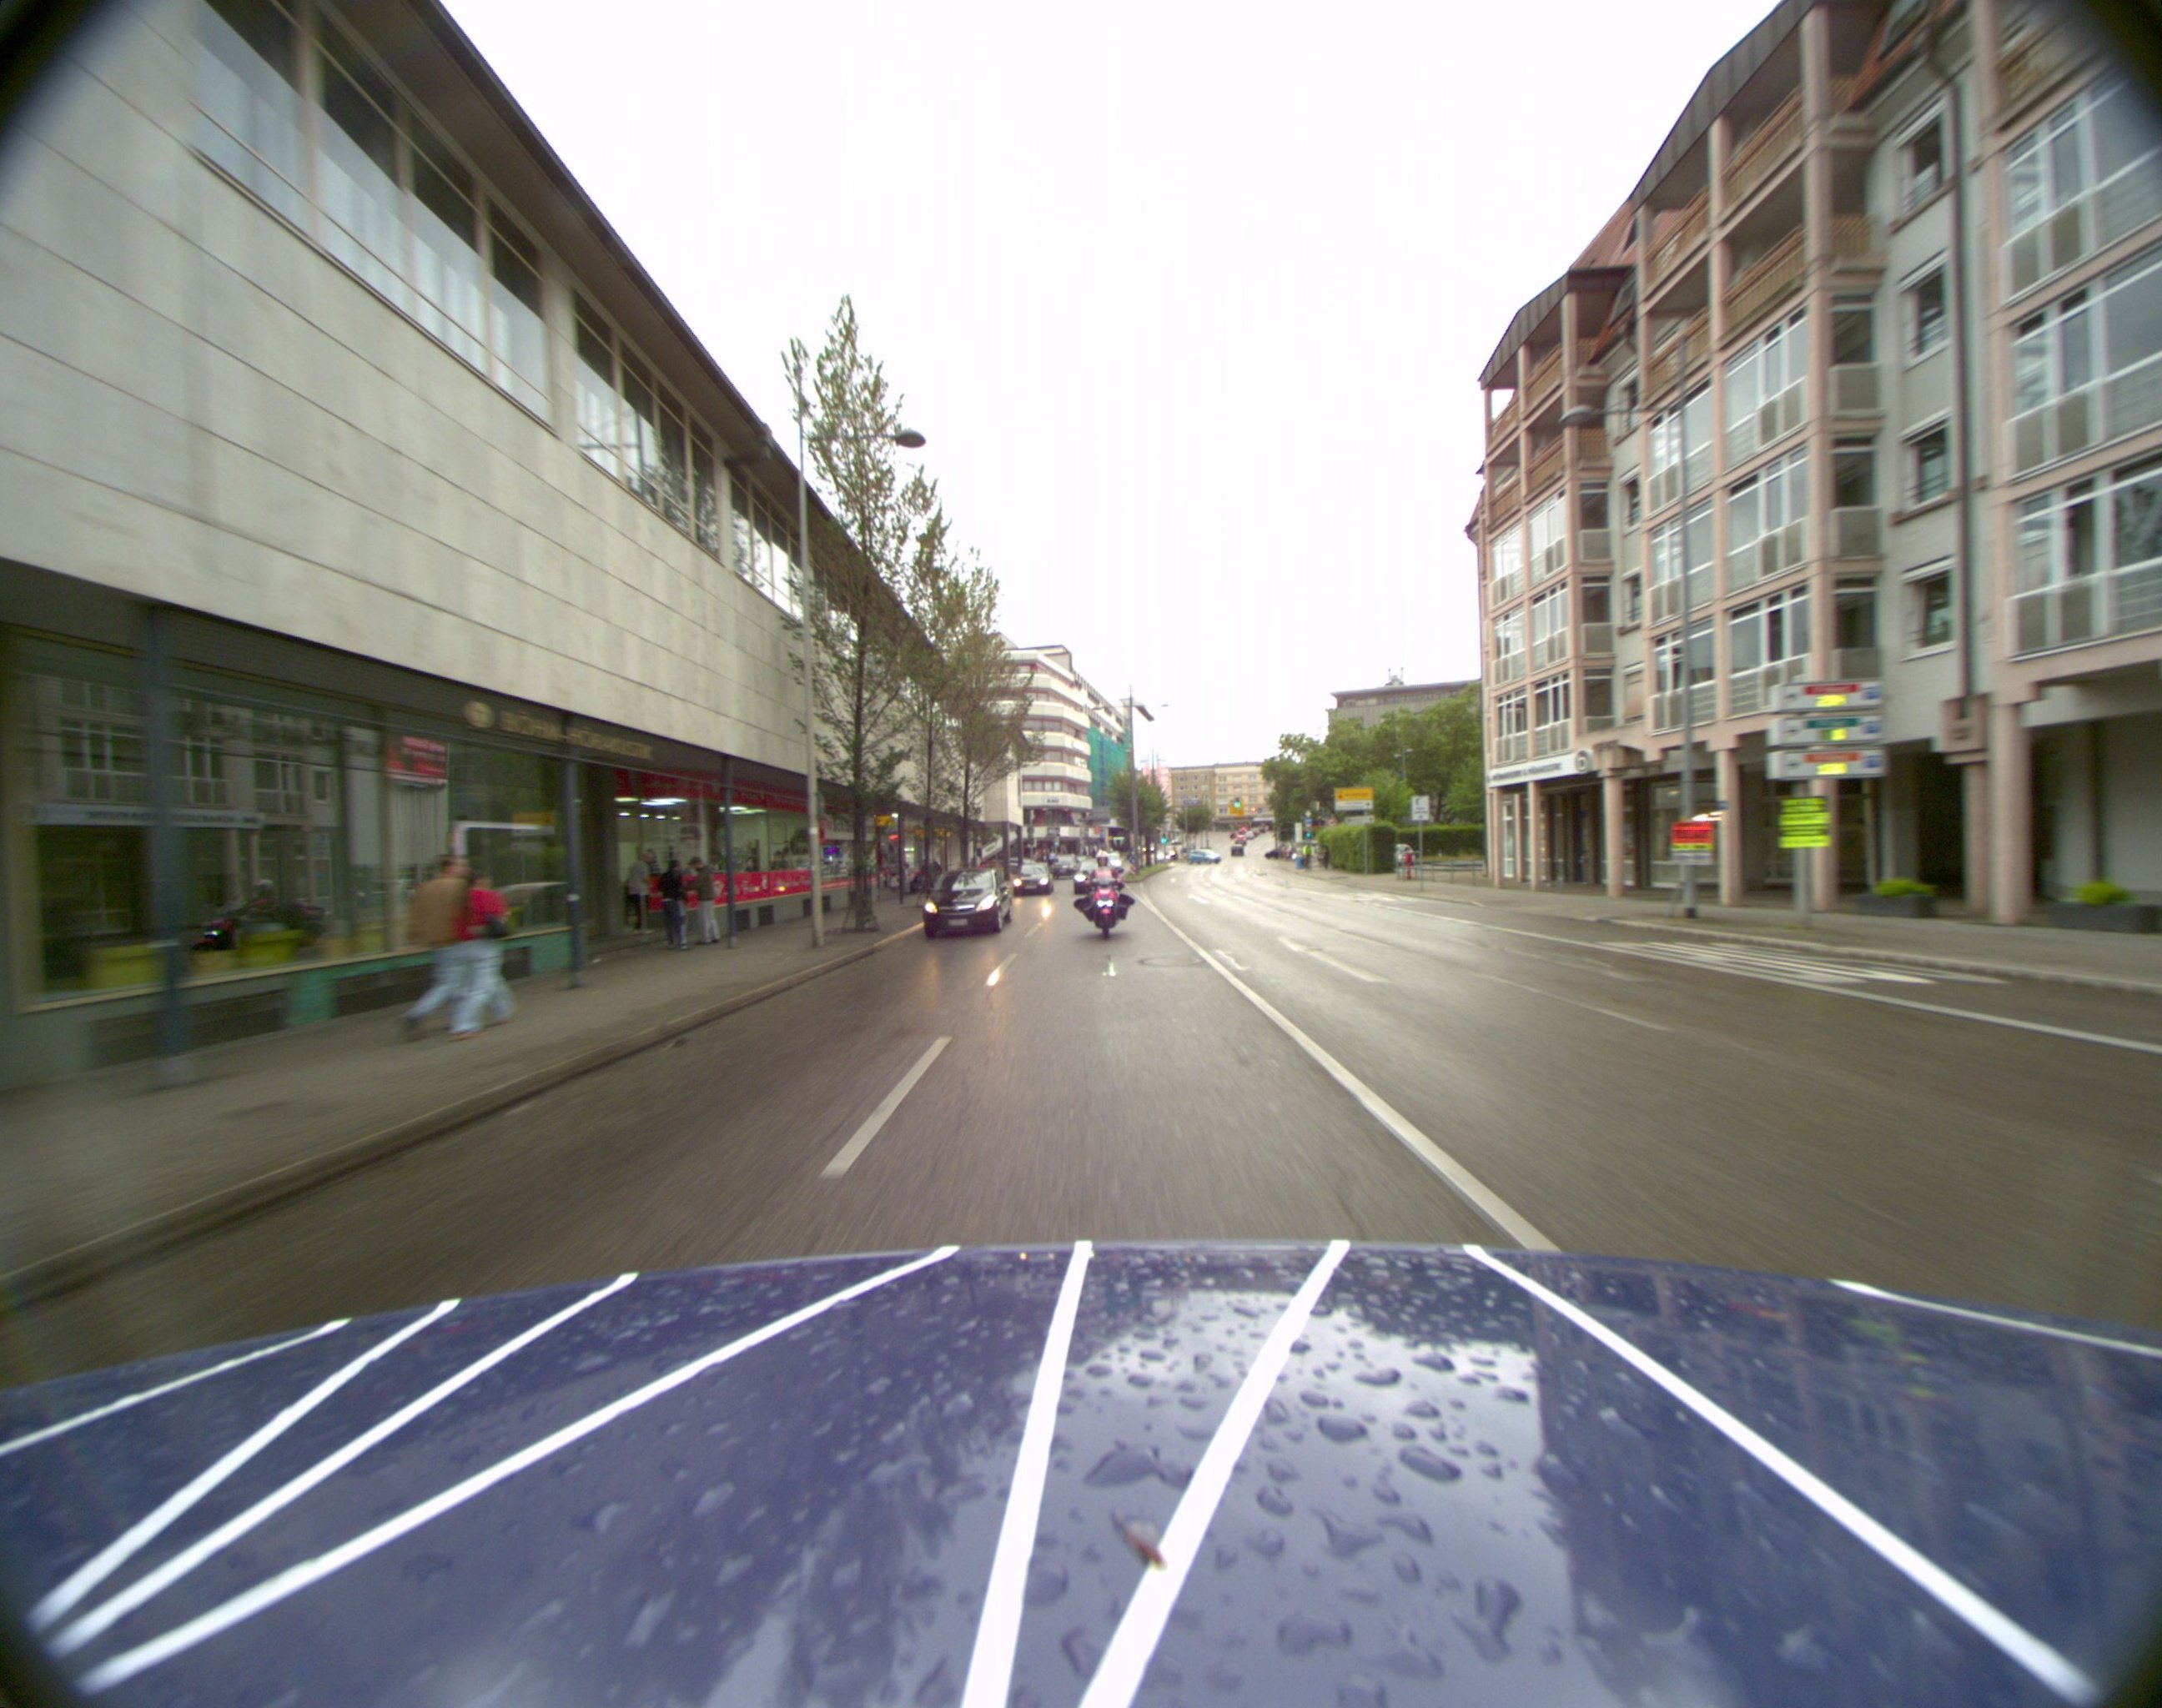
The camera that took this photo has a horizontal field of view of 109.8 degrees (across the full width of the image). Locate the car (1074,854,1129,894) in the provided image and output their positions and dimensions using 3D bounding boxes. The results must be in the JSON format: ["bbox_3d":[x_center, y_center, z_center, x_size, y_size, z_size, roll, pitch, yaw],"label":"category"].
[{"bbox_3d":[0.963,0.811,32.680,1.937,1.511,4.470,-3,0,6],"label":"car"}]

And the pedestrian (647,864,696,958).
[{"bbox_3d":[-7.683,1.062,14.275,0.537,1.709,0.535,-2,1,10],"label":"pedestrian"}]

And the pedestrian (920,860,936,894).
[{"bbox_3d":[-6.978,1.042,34.666,0.510,1.557,0.429,-2,1,-43],"label":"pedestrian"}]

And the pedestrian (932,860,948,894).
[{"bbox_3d":[-6.495,1.057,35.029,0.510,1.557,0.429,-2,1,-44],"label":"pedestrian"}]

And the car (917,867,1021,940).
[{"bbox_3d":[-2.555,1.096,18.125,1.712,1.448,3.743,-2,0,3],"label":"car"}]

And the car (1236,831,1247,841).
[{"bbox_3d":[27.903,-3.143,132.082,1.830,1.726,4.313,-2,2,12],"label":"car"}]

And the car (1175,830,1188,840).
[{"bbox_3d":[19.303,-3.626,145.653,1.830,1.727,4.001,-1,4,15],"label":"car"}]

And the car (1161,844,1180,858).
[{"bbox_3d":[10.266,-0.357,86.979,1.768,1.401,4.002,-3,2,11],"label":"car"}]

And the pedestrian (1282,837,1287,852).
[{"bbox_3d":[23.667,-1.093,88.270,0.412,1.753,0.677,-2,0,12],"label":"pedestrian"}]

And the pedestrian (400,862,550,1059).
[{"bbox_3d":[-5.797,0.973,7.329,0.655,1.757,0.923,-1,1,1],"label":"pedestrian"}]

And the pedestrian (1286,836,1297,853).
[{"bbox_3d":[23.698,-1.098,85.414,0.861,1.896,0.826,-4,2,-10],"label":"pedestrian"}]

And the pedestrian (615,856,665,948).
[{"bbox_3d":[-8.402,0.910,14.484,0.537,1.709,0.535,-2,1,11],"label":"pedestrian"}]

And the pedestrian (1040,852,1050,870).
[{"bbox_3d":[-3.573,0.713,75.308,0.623,1.764,0.678,-2,4,20],"label":"pedestrian"}]

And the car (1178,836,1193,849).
[{"bbox_3d":[16.251,-1.771,117.643,1.830,1.727,4.001,-1,4,15],"label":"car"}]

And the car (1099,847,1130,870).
[{"bbox_3d":[2.632,0.344,59.324,1.630,1.731,3.604,-1,1,14],"label":"car"}]

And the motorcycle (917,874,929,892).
[{"bbox_3d":[-7.149,1.308,34.471,0.325,0.799,0.920,-1,0,1],"label":"motorcycle"}]

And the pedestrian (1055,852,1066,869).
[{"bbox_3d":[-2.173,0.690,80.180,0.897,1.770,0.806,3,5,17],"label":"pedestrian"}]

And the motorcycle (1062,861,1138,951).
[{"bbox_3d":[0.432,0.917,14.573,0.831,1.479,2.868,-1,1,14],"label":"motorcycle"}]

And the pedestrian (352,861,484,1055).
[{"bbox_3d":[-6.415,0.974,7.386,0.700,1.791,0.606,-1,1,1],"label":"pedestrian"}]

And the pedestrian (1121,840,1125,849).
[{"bbox_3d":[7.106,-1.680,127.963,0.429,1.481,0.523,-4,5,-17],"label":"pedestrian"}]

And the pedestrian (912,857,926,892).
[{"bbox_3d":[-7.257,0.920,34.027,0.430,1.557,0.510,-1,1,6],"label":"pedestrian"}]

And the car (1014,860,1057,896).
[{"bbox_3d":[-2.031,1.052,34.588,1.596,1.432,3.627,-3,0,1],"label":"car"}]

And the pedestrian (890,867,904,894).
[{"bbox_3d":[-8.041,1.144,33.211,0.431,1.129,0.508,-2,1,-34],"label":"pedestrian"}]

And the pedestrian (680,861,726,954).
[{"bbox_3d":[-7.529,1.052,15.143,0.537,1.809,0.535,-2,1,10],"label":"pedestrian"}]

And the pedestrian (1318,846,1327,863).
[{"bbox_3d":[16.980,0.050,53.454,0.469,1.144,0.502,-2,1,5],"label":"pedestrian"}]

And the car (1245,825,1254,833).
[{"bbox_3d":[33.869,-5.058,152.629,1.674,1.507,3.646,-1,2,13],"label":"car"}]

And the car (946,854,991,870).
[{"bbox_3d":[-11.383,0.779,77.026,4.270,1.412,1.787,-2,1,1],"label":"car"}]

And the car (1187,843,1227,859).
[{"bbox_3d":[12.711,-0.295,76.833,3.680,1.465,1.704,-4,-2,44],"label":"car"}]

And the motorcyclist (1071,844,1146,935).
[{"bbox_3d":[0.568,0.707,15.416,1.295,1.757,0.846,-2,2,14],"label":"motorcyclist"}]

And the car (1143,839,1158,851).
[{"bbox_3d":[11.253,-1.448,122.830,1.830,1.727,4.001,-1,4,15],"label":"car"}]

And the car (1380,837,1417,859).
[{"bbox_3d":[23.126,-0.449,55.510,1.598,1.530,3.602,-2,0,8],"label":"car"}]

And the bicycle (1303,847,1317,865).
[{"bbox_3d":[15.460,0.119,51.352,0.651,1.104,2.059,-2,1,11],"label":"bicycle"}]

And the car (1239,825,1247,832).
[{"bbox_3d":[36.810,-5.806,172.221,1.716,1.471,3.959,0,3,13],"label":"car"}]

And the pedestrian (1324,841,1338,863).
[{"bbox_3d":[17.444,-0.140,53.025,0.716,1.550,0.565,-2,1,4],"label":"pedestrian"}]

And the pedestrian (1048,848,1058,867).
[{"bbox_3d":[-2.756,0.362,75.365,0.623,1.837,0.848,-2,4,20],"label":"pedestrian"}]

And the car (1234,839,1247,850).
[{"bbox_3d":[21.863,-1.345,104.196,1.760,1.412,4.099,0,2,13],"label":"car"}]

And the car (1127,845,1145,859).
[{"bbox_3d":[7.850,-0.345,108.712,1.830,1.727,4.001,-1,4,15],"label":"car"}]

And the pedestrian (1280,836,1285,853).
[{"bbox_3d":[23.113,-1.100,87.060,0.447,1.827,0.676,-2,4,9],"label":"pedestrian"}]

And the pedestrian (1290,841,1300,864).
[{"bbox_3d":[16.603,-0.108,58.987,0.630,1.754,0.528,-2,1,0],"label":"pedestrian"}]

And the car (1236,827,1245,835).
[{"bbox_3d":[32.729,-4.804,155.774,1.625,1.547,3.662,-2,1,12],"label":"car"}]

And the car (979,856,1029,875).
[{"bbox_3d":[-6.913,1.047,68.358,3.989,1.468,2.003,-3,2,32],"label":"car"}]

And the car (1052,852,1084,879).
[{"bbox_3d":[-0.888,0.779,54.442,1.735,1.669,4.249,-4,1,4],"label":"car"}]

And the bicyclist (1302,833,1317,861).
[{"bbox_3d":[15.419,-0.489,51.266,0.793,1.879,0.954,-2,1,10],"label":"bicyclist"}]

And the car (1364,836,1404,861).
[{"bbox_3d":[20.208,-0.347,50.797,1.598,1.530,3.602,-2,0,8],"label":"car"}]
